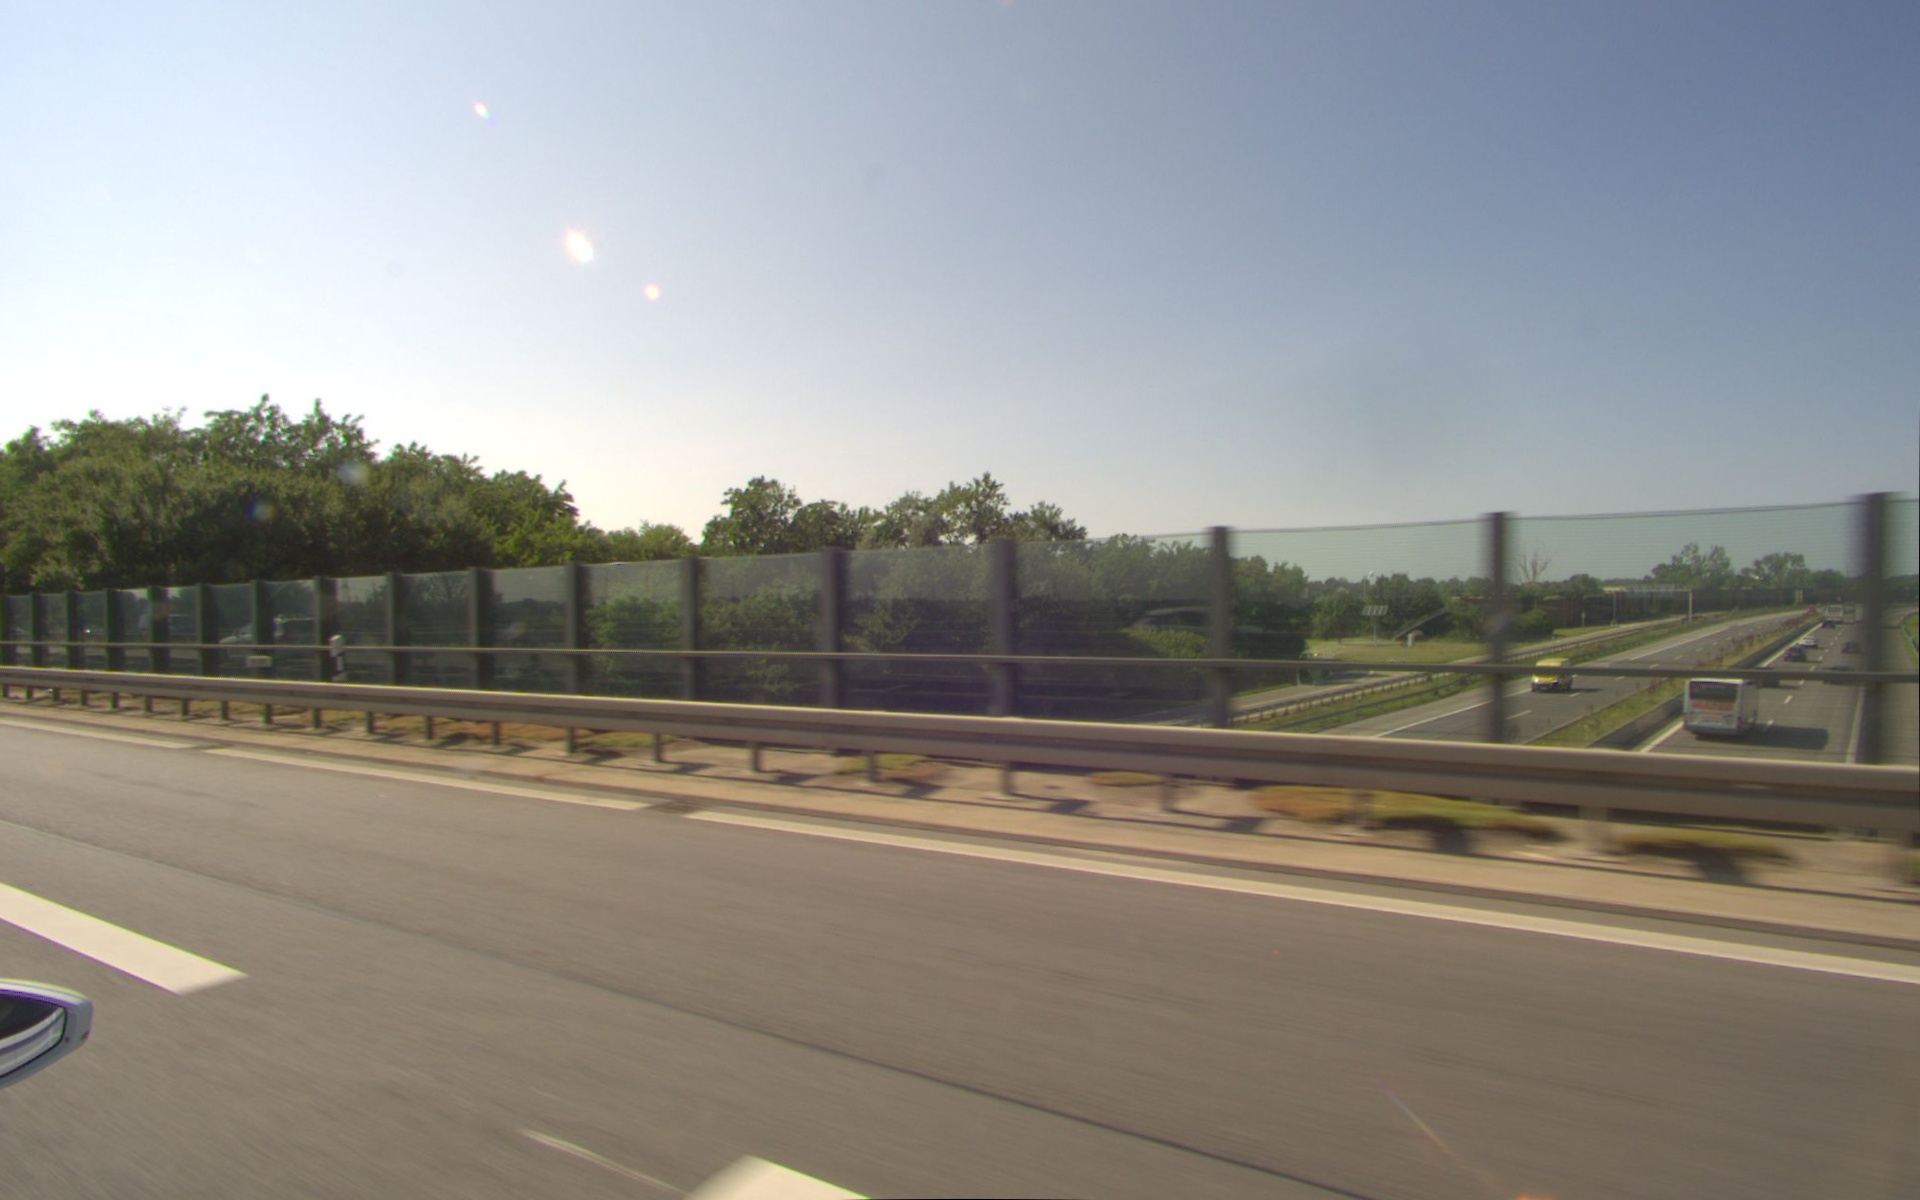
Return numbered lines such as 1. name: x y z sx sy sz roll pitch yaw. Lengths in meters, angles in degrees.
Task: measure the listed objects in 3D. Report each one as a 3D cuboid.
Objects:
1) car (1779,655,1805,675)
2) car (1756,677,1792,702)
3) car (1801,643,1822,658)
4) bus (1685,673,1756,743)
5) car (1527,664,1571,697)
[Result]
1. car: 88.830 6.928 106.839 1.860 2.037 3.965 0 -2 44
2. car: 65.456 7.192 80.527 1.860 1.787 3.964 0 -2 45
3. car: 108.673 6.386 127.734 1.860 1.787 3.965 0 -2 44
4. bus: 42.362 5.861 55.677 2.521 3.204 8.322 0 -1 42
5. car: 47.616 6.480 80.884 2.112 2.374 4.946 0 -2 43
